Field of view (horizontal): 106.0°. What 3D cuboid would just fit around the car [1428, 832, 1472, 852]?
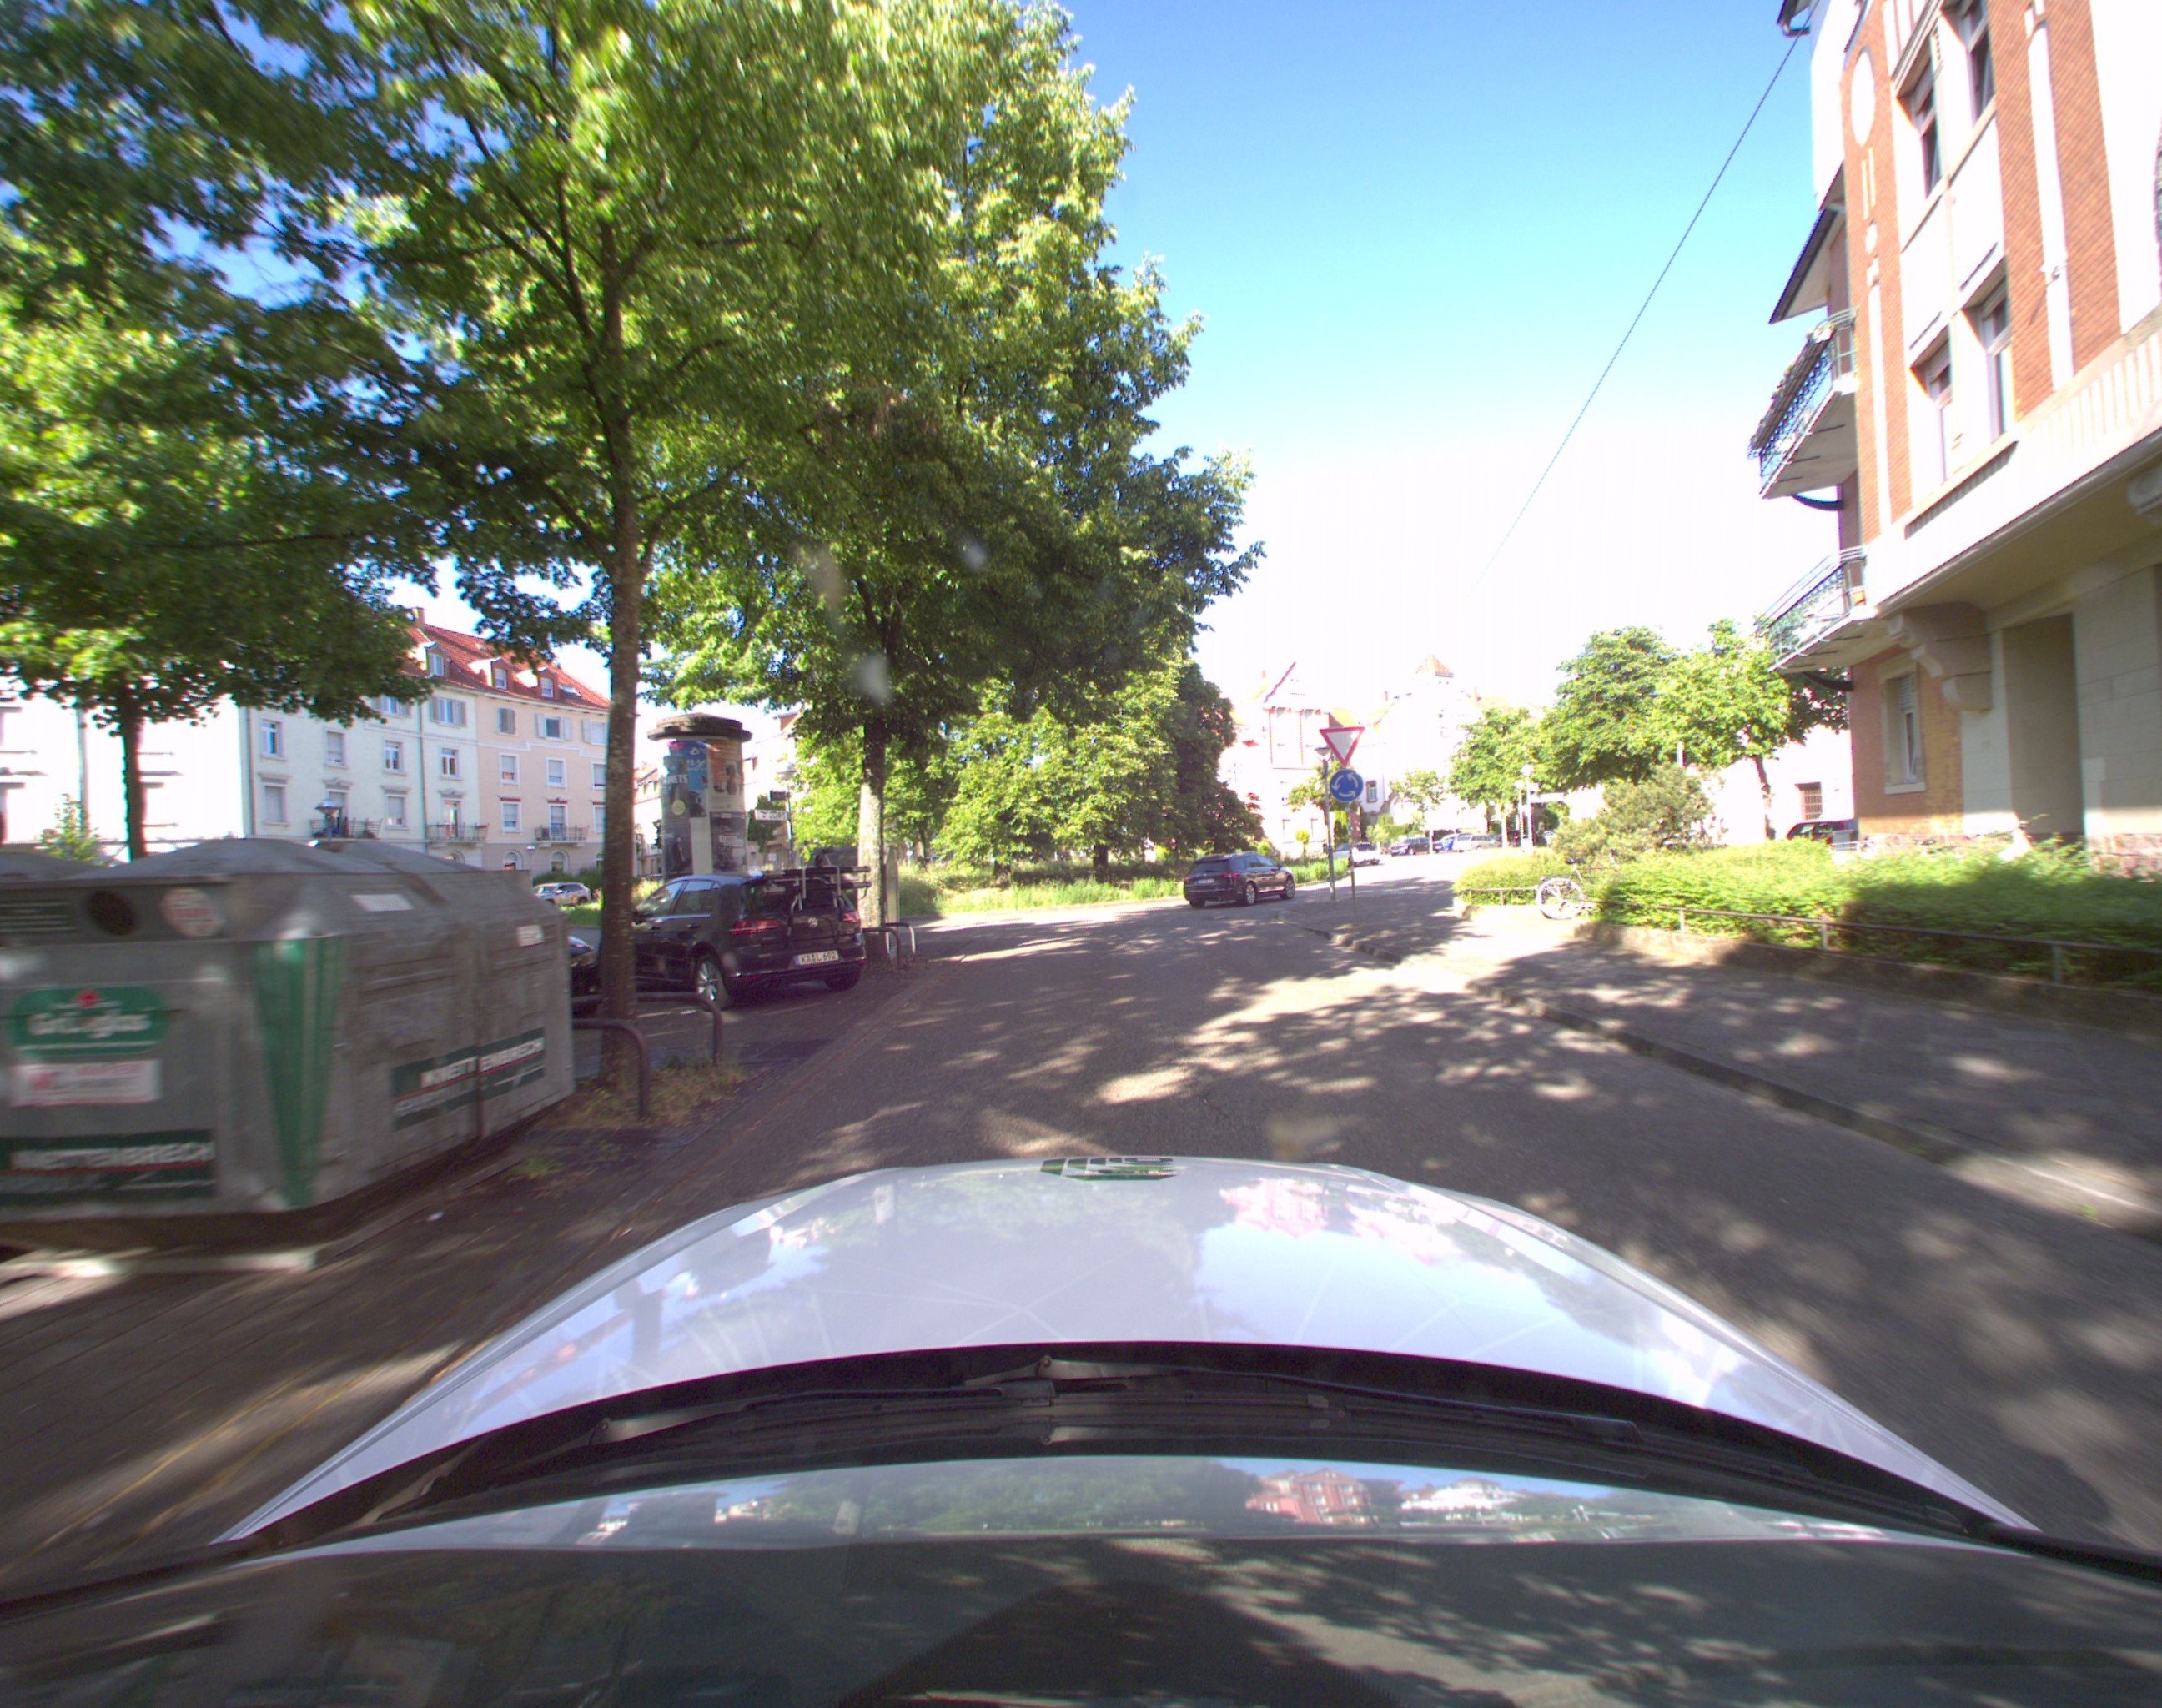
[{"bbox_3d":[31.996,-1.046,70.646,3.485,1.488,1.656,-3,0,-29],"label":"car"}]

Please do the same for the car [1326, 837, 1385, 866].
[{"bbox_3d":[16.719,-0.137,49.864,1.715,1.564,3.756,-3,-1,-12],"label":"car"}]

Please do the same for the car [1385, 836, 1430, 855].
[{"bbox_3d":[27.408,-0.752,68.305,3.659,1.369,1.741,-3,0,-34],"label":"car"}]

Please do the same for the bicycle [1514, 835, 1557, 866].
[{"bbox_3d":[15.849,-0.127,28.419,0.505,1.036,1.877,-3,0,3],"label":"bicycle"}]

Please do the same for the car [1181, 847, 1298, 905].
[{"bbox_3d":[4.689,0.602,23.659,1.697,1.483,4.171,-4,-1,35],"label":"car"}]

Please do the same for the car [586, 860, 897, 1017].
[{"bbox_3d":[-4.225,0.889,9.817,4.089,1.481,1.787,-3,-1,41],"label":"car"}]

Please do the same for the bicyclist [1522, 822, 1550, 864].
[{"bbox_3d":[15.825,-0.377,28.356,0.507,1.416,0.742,-3,0,3],"label":"bicyclist"}]

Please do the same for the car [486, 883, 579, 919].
[{"bbox_3d":[-29.467,2.478,43.935,1.986,1.607,4.129,-3,0,2],"label":"car"}]

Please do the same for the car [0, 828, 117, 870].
[{"bbox_3d":[-40.585,-0.183,31.822,3.418,1.466,1.472,-3,0,-34],"label":"car"}]

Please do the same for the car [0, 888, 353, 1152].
[{"bbox_3d":[-7.753,1.106,5.817,3.767,1.466,1.648,-3,0,7],"label":"car"}]

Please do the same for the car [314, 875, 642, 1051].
[{"bbox_3d":[-6.640,1.030,8.831,3.948,1.403,1.798,-3,0,38],"label":"car"}]

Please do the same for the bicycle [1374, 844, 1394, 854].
[{"bbox_3d":[26.615,-0.449,71.517,0.624,0.786,2.280,-3,0,-7],"label":"bicycle"}]

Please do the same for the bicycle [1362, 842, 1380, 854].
[{"bbox_3d":[25.160,-0.511,70.635,0.477,0.914,2.280,-3,0,-7],"label":"bicycle"}]

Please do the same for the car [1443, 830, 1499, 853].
[{"bbox_3d":[28.764,-0.937,60.039,3.986,1.455,1.546,-3,0,-27],"label":"car"}]

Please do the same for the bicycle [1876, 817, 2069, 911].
[{"bbox_3d":[10.761,0.140,9.884,1.544,1.061,0.273,-3,0,27],"label":"bicycle"}]

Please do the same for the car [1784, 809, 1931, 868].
[{"bbox_3d":[22.157,-0.439,23.259,3.514,1.472,1.562,-3,0,-19],"label":"car"}]

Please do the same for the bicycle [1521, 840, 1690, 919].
[{"bbox_3d":[8.324,0.420,13.031,2.202,1.159,0.390,-3,0,27],"label":"bicycle"}]

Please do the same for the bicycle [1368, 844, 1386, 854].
[{"bbox_3d":[25.913,-0.456,71.264,0.477,0.822,2.280,-3,0,-7],"label":"bicycle"}]

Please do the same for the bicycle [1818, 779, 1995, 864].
[{"bbox_3d":[11.501,-0.433,11.400,1.662,1.061,0.390,-3,0,27],"label":"bicycle"}]
